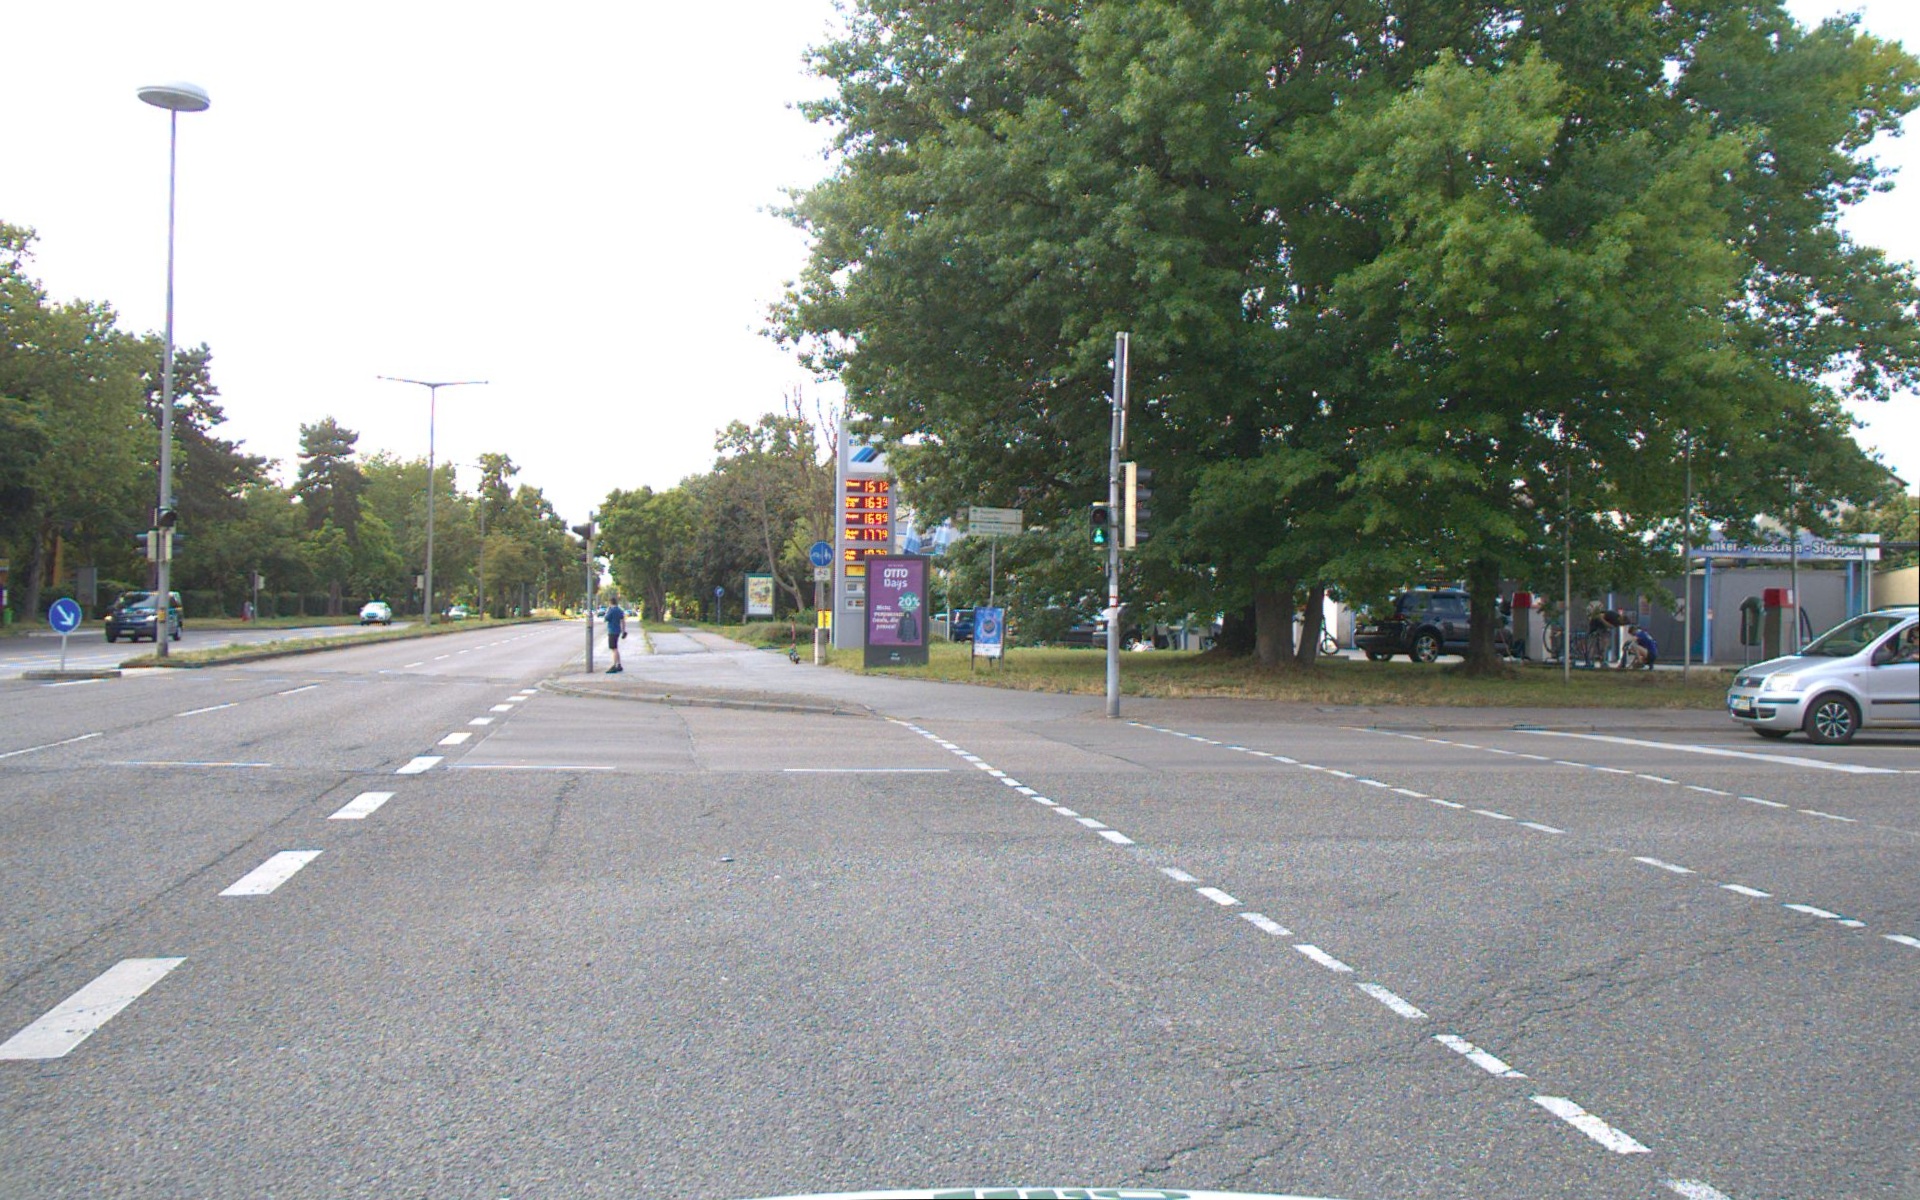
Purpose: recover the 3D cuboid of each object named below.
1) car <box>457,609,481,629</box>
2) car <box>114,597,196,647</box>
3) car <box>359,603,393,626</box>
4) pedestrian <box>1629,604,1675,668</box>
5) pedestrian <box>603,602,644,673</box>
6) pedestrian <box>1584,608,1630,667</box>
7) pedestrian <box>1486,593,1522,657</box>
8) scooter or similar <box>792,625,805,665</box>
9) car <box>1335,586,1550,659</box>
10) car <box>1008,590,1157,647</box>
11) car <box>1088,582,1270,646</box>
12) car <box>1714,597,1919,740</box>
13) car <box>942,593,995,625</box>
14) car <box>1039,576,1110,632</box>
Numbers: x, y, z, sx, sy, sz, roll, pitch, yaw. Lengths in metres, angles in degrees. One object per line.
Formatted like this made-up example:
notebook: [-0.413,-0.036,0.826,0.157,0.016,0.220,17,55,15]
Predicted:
car: [-45.261,1.754,152.497,1.828,1.735,4.440,0,-1,-13]
car: [-31.965,0.856,65.795,1.734,1.889,4.803,0,0,-11]
car: [-44.687,1.114,126.603,1.827,1.735,4.442,0,-1,-12]
pedestrian: [14.355,0.751,34.295,0.750,1.277,0.643,1,-2,35]
pedestrian: [-7.444,0.819,36.576,0.716,1.558,0.753,1,-1,-27]
pedestrian: [13.618,0.790,34.791,0.750,1.211,0.643,1,-2,35]
pedestrian: [13.283,0.615,40.388,0.552,1.521,0.617,3,-2,-18]
scooter or similar: [-4.055,1.120,41.480,0.217,0.997,1.269,0,-1,-11]
car: [11.211,0.528,38.488,4.485,1.624,2.140,1,-1,-22]
car: [4.485,0.679,60.750,5.094,2.039,2.145,0,-1,-15]
car: [6.604,0.425,49.930,5.108,1.859,2.140,1,-1,-22]
car: [10.673,0.766,18.786,3.522,1.544,1.559,1,-1,1]
car: [0.375,0.441,78.954,1.720,1.479,3.729,0,-1,-13]
car: [5.247,0.198,76.297,1.720,2.497,5.731,0,-1,-13]
